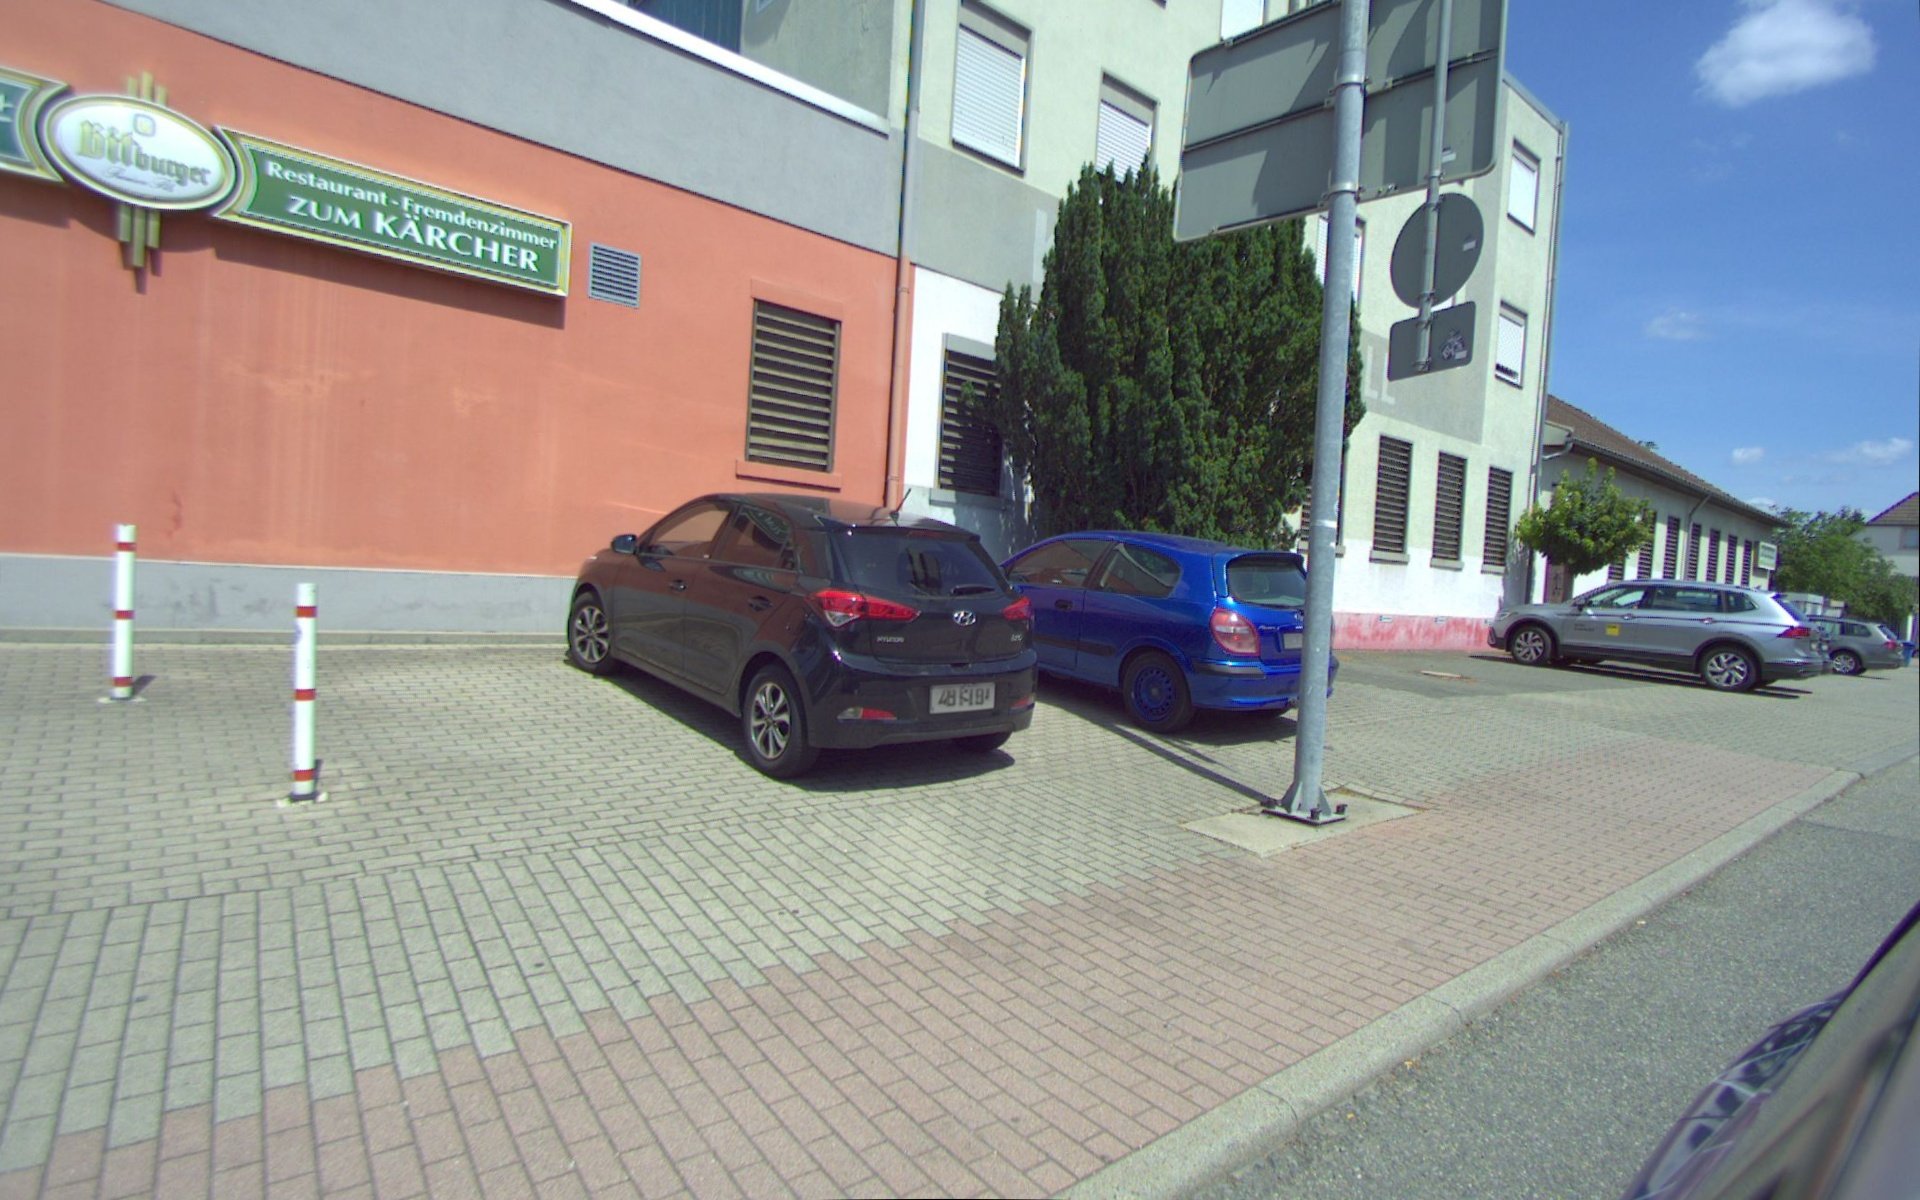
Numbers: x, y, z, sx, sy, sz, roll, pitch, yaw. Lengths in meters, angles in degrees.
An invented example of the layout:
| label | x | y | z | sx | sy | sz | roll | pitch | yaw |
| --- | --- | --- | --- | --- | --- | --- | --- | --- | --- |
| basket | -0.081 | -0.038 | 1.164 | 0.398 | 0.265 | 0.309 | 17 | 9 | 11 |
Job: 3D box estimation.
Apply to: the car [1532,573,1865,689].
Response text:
| label | x | y | z | sx | sy | sz | roll | pitch | yaw |
| --- | --- | --- | --- | --- | --- | --- | --- | --- | --- |
| car | 13.327 | 0.478 | 18.518 | 1.965 | 1.538 | 4.512 | 2 | 4 | -41 |

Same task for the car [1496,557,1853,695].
| label | x | y | z | sx | sy | sz | roll | pitch | yaw |
| --- | --- | --- | --- | --- | --- | --- | --- | --- | --- |
| car | 11.759 | 0.341 | 16.917 | 1.889 | 1.717 | 4.463 | 2 | 4 | -42 |

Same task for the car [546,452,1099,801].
| label | x | y | z | sx | sy | sz | roll | pitch | yaw |
| --- | --- | --- | --- | --- | --- | --- | --- | --- | --- |
| car | -1.187 | -0.072 | 6.889 | 1.779 | 1.506 | 3.907 | 0 | 9 | -42 |

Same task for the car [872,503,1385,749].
| label | x | y | z | sx | sy | sz | roll | pitch | yaw |
| --- | --- | --- | --- | --- | --- | --- | --- | --- | --- |
| car | 1.218 | 0.007 | 9.015 | 1.749 | 1.456 | 4.335 | -1 | 8 | -41 |

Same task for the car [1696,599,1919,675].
| label | x | y | z | sx | sy | sz | roll | pitch | yaw |
| --- | --- | --- | --- | --- | --- | --- | --- | --- | --- |
| car | 22.922 | 0.943 | 27.320 | 1.884 | 1.471 | 4.539 | 2 | 4 | -40 |
